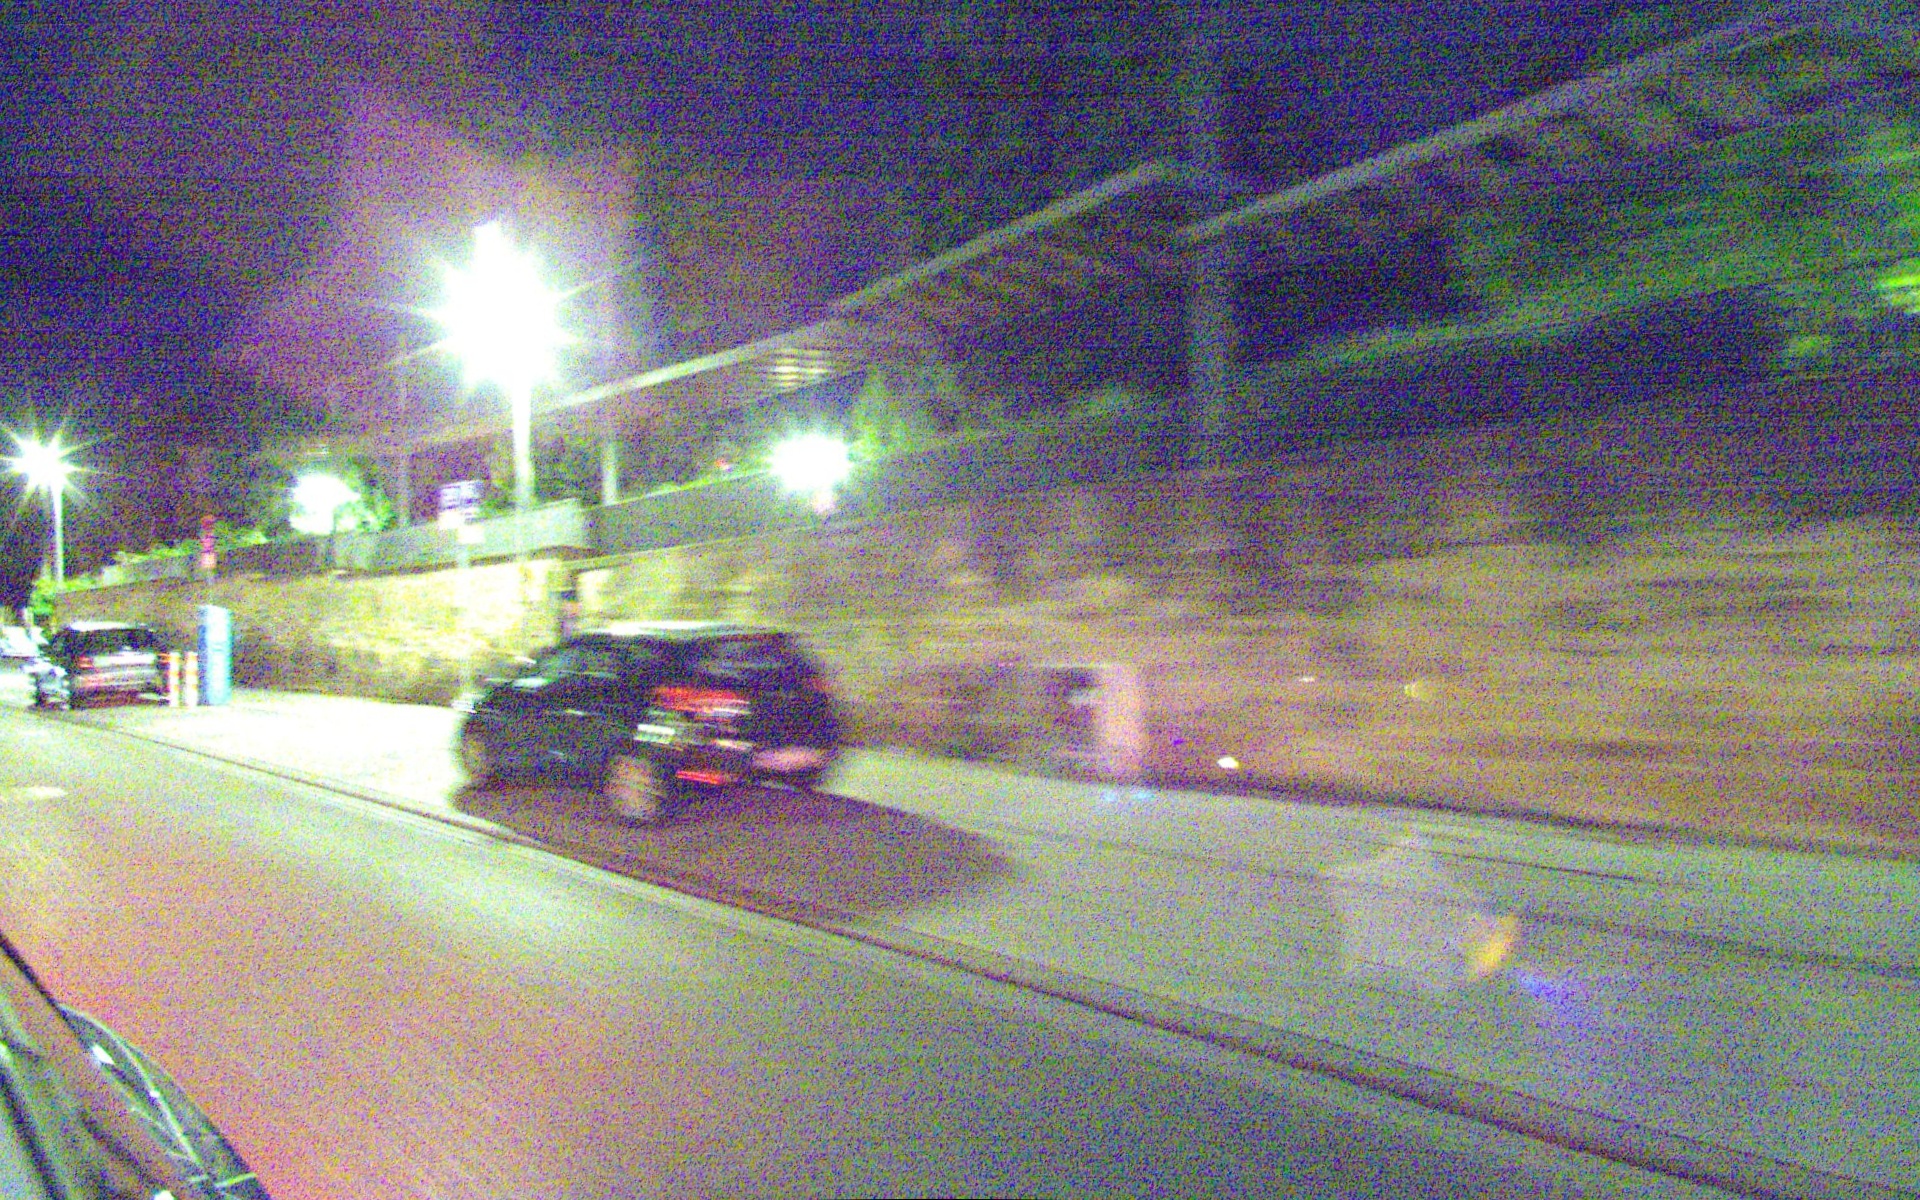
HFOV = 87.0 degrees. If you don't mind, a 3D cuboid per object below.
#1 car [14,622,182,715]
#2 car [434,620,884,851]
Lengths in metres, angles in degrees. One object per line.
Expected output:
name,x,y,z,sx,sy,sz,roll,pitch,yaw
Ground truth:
car,-16.567,1.239,19.409,3.684,1.535,1.676,0,0,37
car,-2.713,0.942,8.582,4.125,1.447,1.674,-2,0,41
